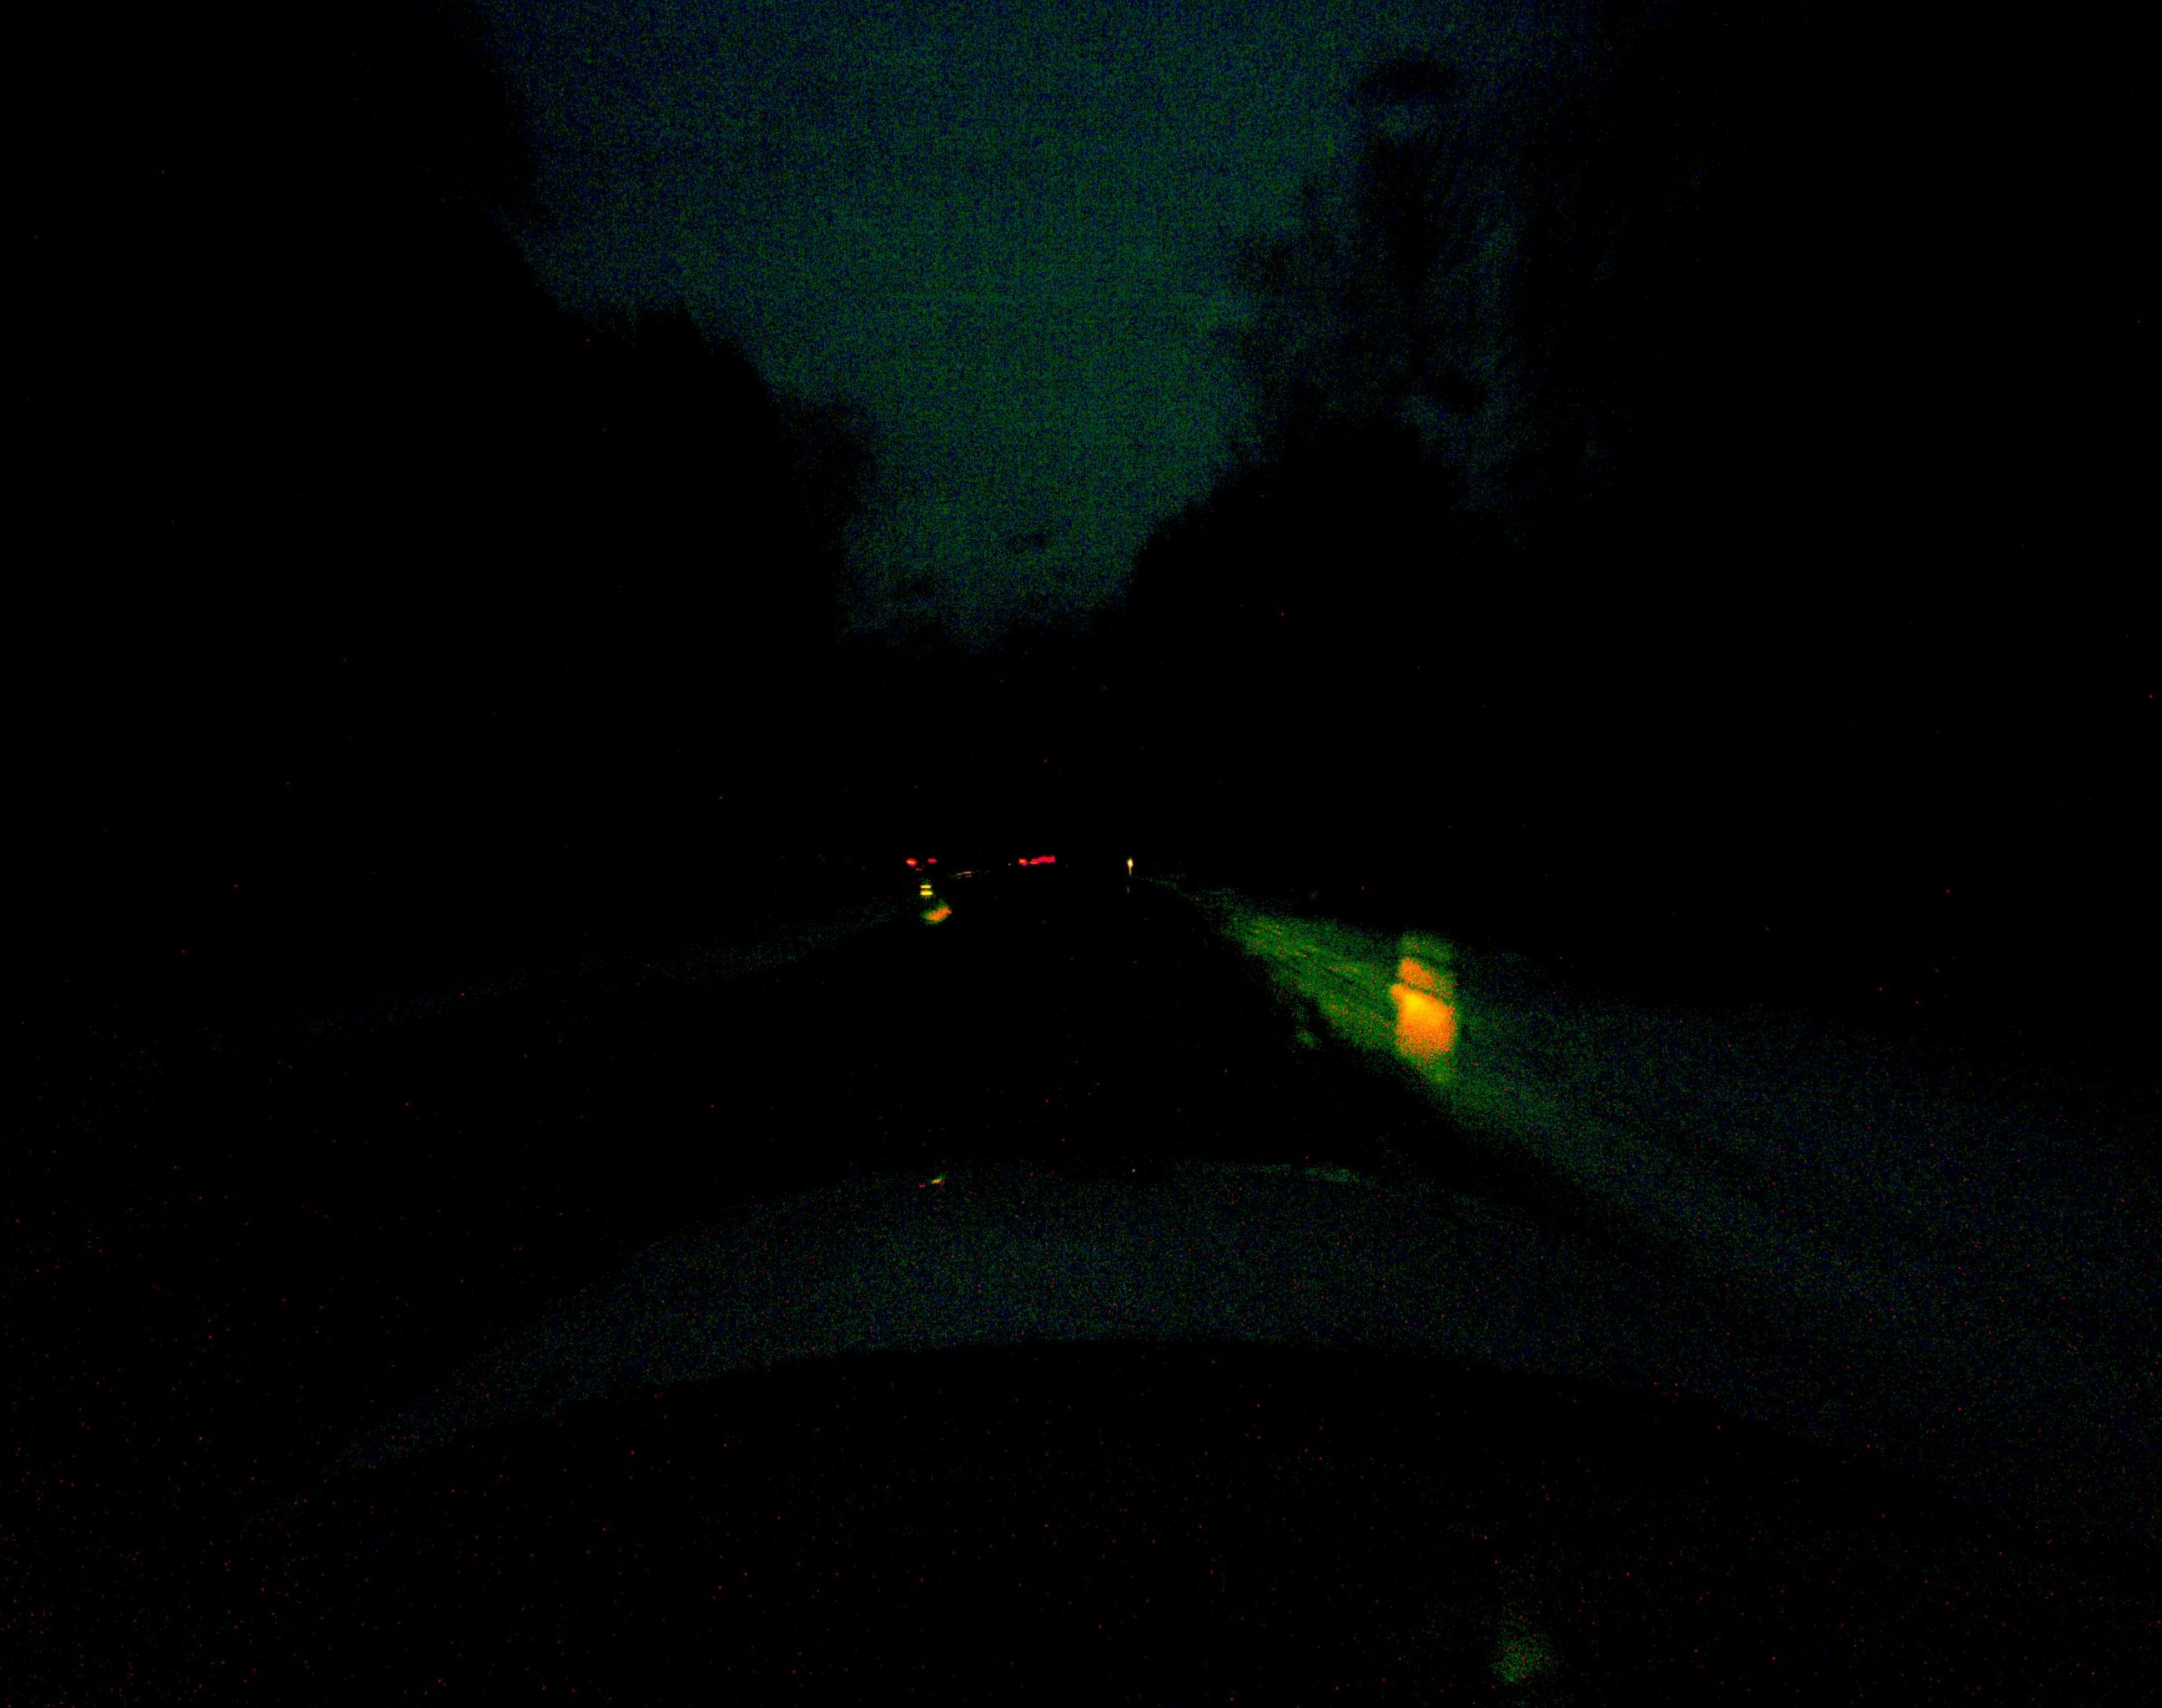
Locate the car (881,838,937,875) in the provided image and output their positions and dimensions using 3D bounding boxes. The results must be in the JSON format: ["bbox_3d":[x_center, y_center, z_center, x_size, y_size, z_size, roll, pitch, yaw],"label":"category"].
[{"bbox_3d":[-13.498,0.255,63.691,2.270,2.645,4.951,-4,1,-36],"label":"car"}]

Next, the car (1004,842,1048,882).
[{"bbox_3d":[-3.182,0.435,46.339,1.994,2.051,3.985,-3,0,-11],"label":"car"}]
